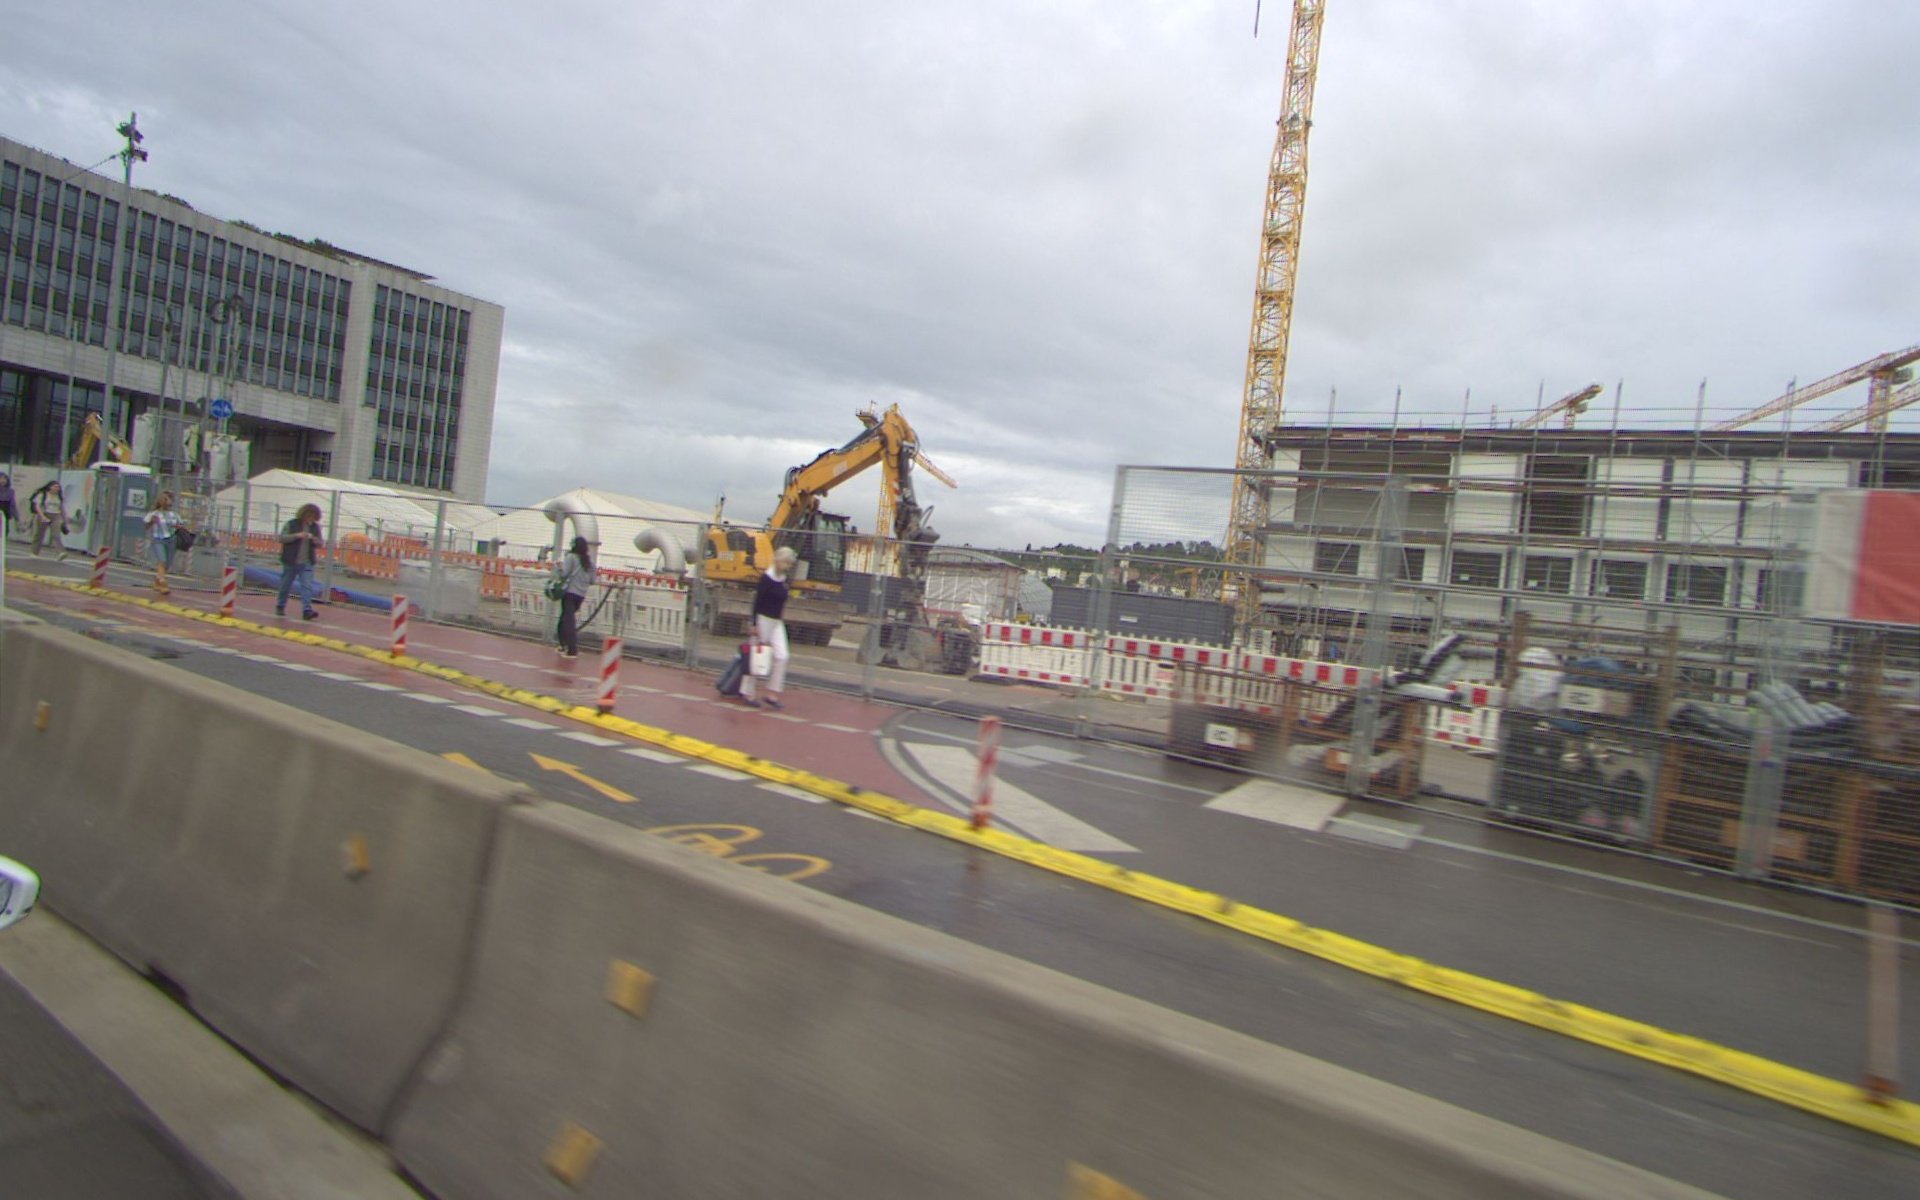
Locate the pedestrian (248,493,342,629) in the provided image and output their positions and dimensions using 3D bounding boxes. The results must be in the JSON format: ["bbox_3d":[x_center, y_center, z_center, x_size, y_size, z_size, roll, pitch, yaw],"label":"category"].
[{"bbox_3d":[-9.905,-0.577,14.987,0.797,1.884,0.691,7,0,27],"label":"pedestrian"}]

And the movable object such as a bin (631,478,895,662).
[{"bbox_3d":[-4.555,-0.695,23.154,4.299,3.535,3.919,7,0,45],"label":"movable object such as a bin"}]

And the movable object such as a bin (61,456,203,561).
[{"bbox_3d":[-38.512,-4.208,46.900,3.626,4.078,3.100,7,-1,8],"label":"movable object such as a bin"}]

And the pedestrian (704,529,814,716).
[{"bbox_3d":[-2.145,0.247,10.753,0.671,1.884,0.666,7,0,27],"label":"pedestrian"}]

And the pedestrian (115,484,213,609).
[{"bbox_3d":[-13.097,-0.873,16.564,0.933,1.884,0.781,7,0,27],"label":"pedestrian"}]

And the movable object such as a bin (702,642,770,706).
[{"bbox_3d":[-2.520,0.833,11.318,0.525,0.632,0.434,7,0,27],"label":"movable object such as a bin"}]

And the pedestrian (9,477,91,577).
[{"bbox_3d":[-18.812,-1.503,20.806,1.040,1.884,0.781,7,0,27],"label":"pedestrian"}]

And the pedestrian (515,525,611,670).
[{"bbox_3d":[-5.493,-0.024,13.943,0.671,1.884,0.788,7,0,27],"label":"pedestrian"}]

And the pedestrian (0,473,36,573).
[{"bbox_3d":[-18.996,-1.562,19.724,0.932,1.884,0.872,7,0,27],"label":"pedestrian"}]
